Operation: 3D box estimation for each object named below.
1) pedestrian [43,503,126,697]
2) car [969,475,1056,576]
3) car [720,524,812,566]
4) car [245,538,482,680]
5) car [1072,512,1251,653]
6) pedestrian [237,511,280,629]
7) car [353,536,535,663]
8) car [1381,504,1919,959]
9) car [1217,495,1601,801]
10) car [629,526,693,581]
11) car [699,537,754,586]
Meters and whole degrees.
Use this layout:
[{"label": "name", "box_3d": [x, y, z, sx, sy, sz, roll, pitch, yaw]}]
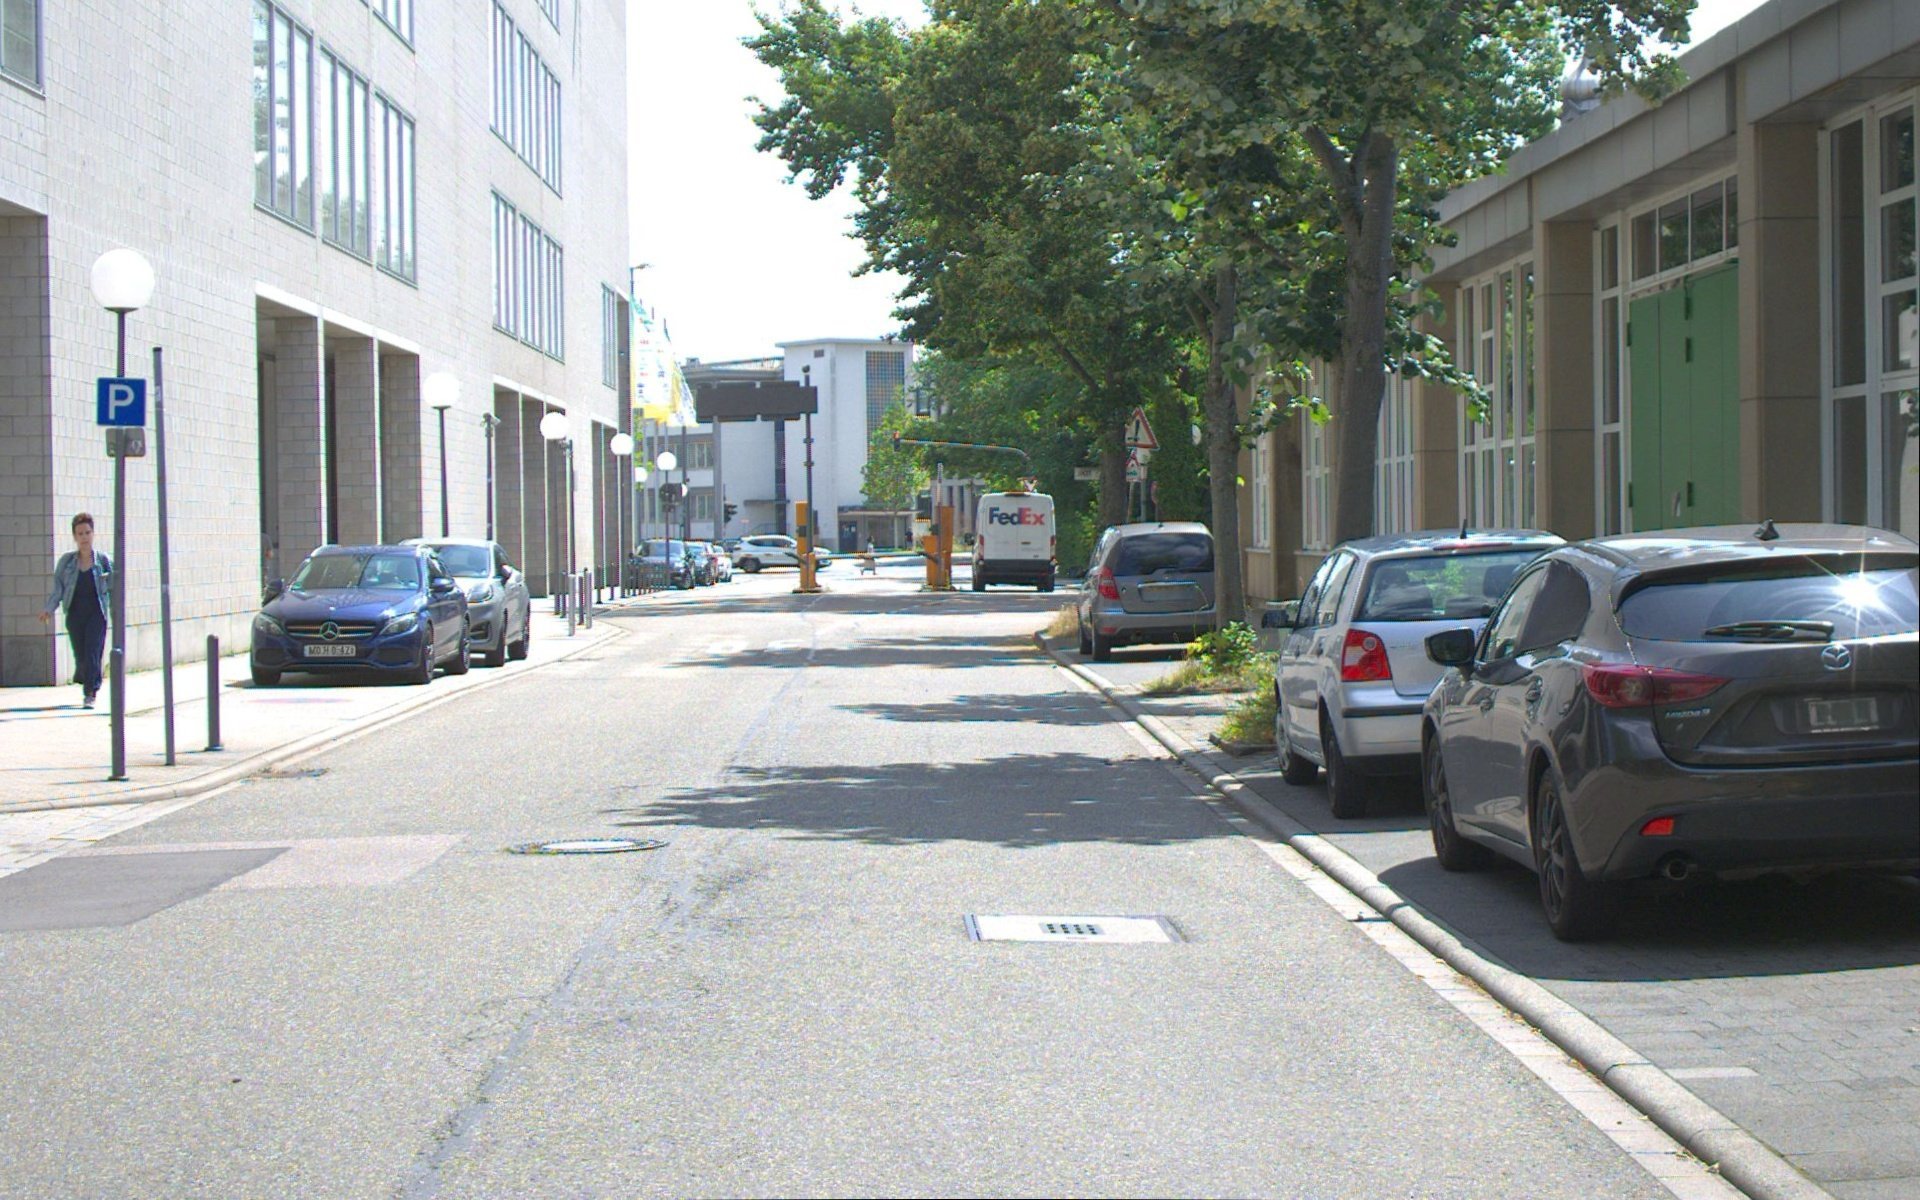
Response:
[{"label": "pedestrian", "box_3d": [-7.783, -0.012, 30.574, 0.649, 1.695, 0.890, -1, 1, -11]}, {"label": "car", "box_3d": [1.327, -1.935, 89.063, 2.083, 2.531, 4.316, 0, 1, -1]}, {"label": "car", "box_3d": [-8.728, -2.476, 154.856, 3.987, 1.897, 1.797, 0, 1, 1]}, {"label": "car", "box_3d": [-6.351, 0.063, 37.027, 1.766, 1.423, 4.234, 0, 1, 1]}, {"label": "car", "box_3d": [2.383, -0.239, 41.605, 1.858, 1.568, 4.000, -2, 1, 0]}, {"label": "pedestrian", "box_3d": [-11.041, -0.471, 54.111, 0.511, 1.834, 0.735, -1, -1, -2]}, {"label": "car", "box_3d": [-6.292, -0.034, 42.278, 1.631, 1.479, 4.178, 0, 1, 0]}, {"label": "car", "box_3d": [2.909, 0.388, 13.760, 1.780, 1.471, 4.462, -2, 1, -1]}, {"label": "car", "box_3d": [2.406, 0.206, 19.242, 1.616, 1.533, 3.780, 0, 1, 0]}, {"label": "car", "box_3d": [-8.879, -1.370, 102.341, 1.646, 1.493, 3.729, -1, -1, -1]}, {"label": "car", "box_3d": [-7.746, -1.265, 114.261, 1.646, 1.493, 3.729, -1, -1, -1]}]
